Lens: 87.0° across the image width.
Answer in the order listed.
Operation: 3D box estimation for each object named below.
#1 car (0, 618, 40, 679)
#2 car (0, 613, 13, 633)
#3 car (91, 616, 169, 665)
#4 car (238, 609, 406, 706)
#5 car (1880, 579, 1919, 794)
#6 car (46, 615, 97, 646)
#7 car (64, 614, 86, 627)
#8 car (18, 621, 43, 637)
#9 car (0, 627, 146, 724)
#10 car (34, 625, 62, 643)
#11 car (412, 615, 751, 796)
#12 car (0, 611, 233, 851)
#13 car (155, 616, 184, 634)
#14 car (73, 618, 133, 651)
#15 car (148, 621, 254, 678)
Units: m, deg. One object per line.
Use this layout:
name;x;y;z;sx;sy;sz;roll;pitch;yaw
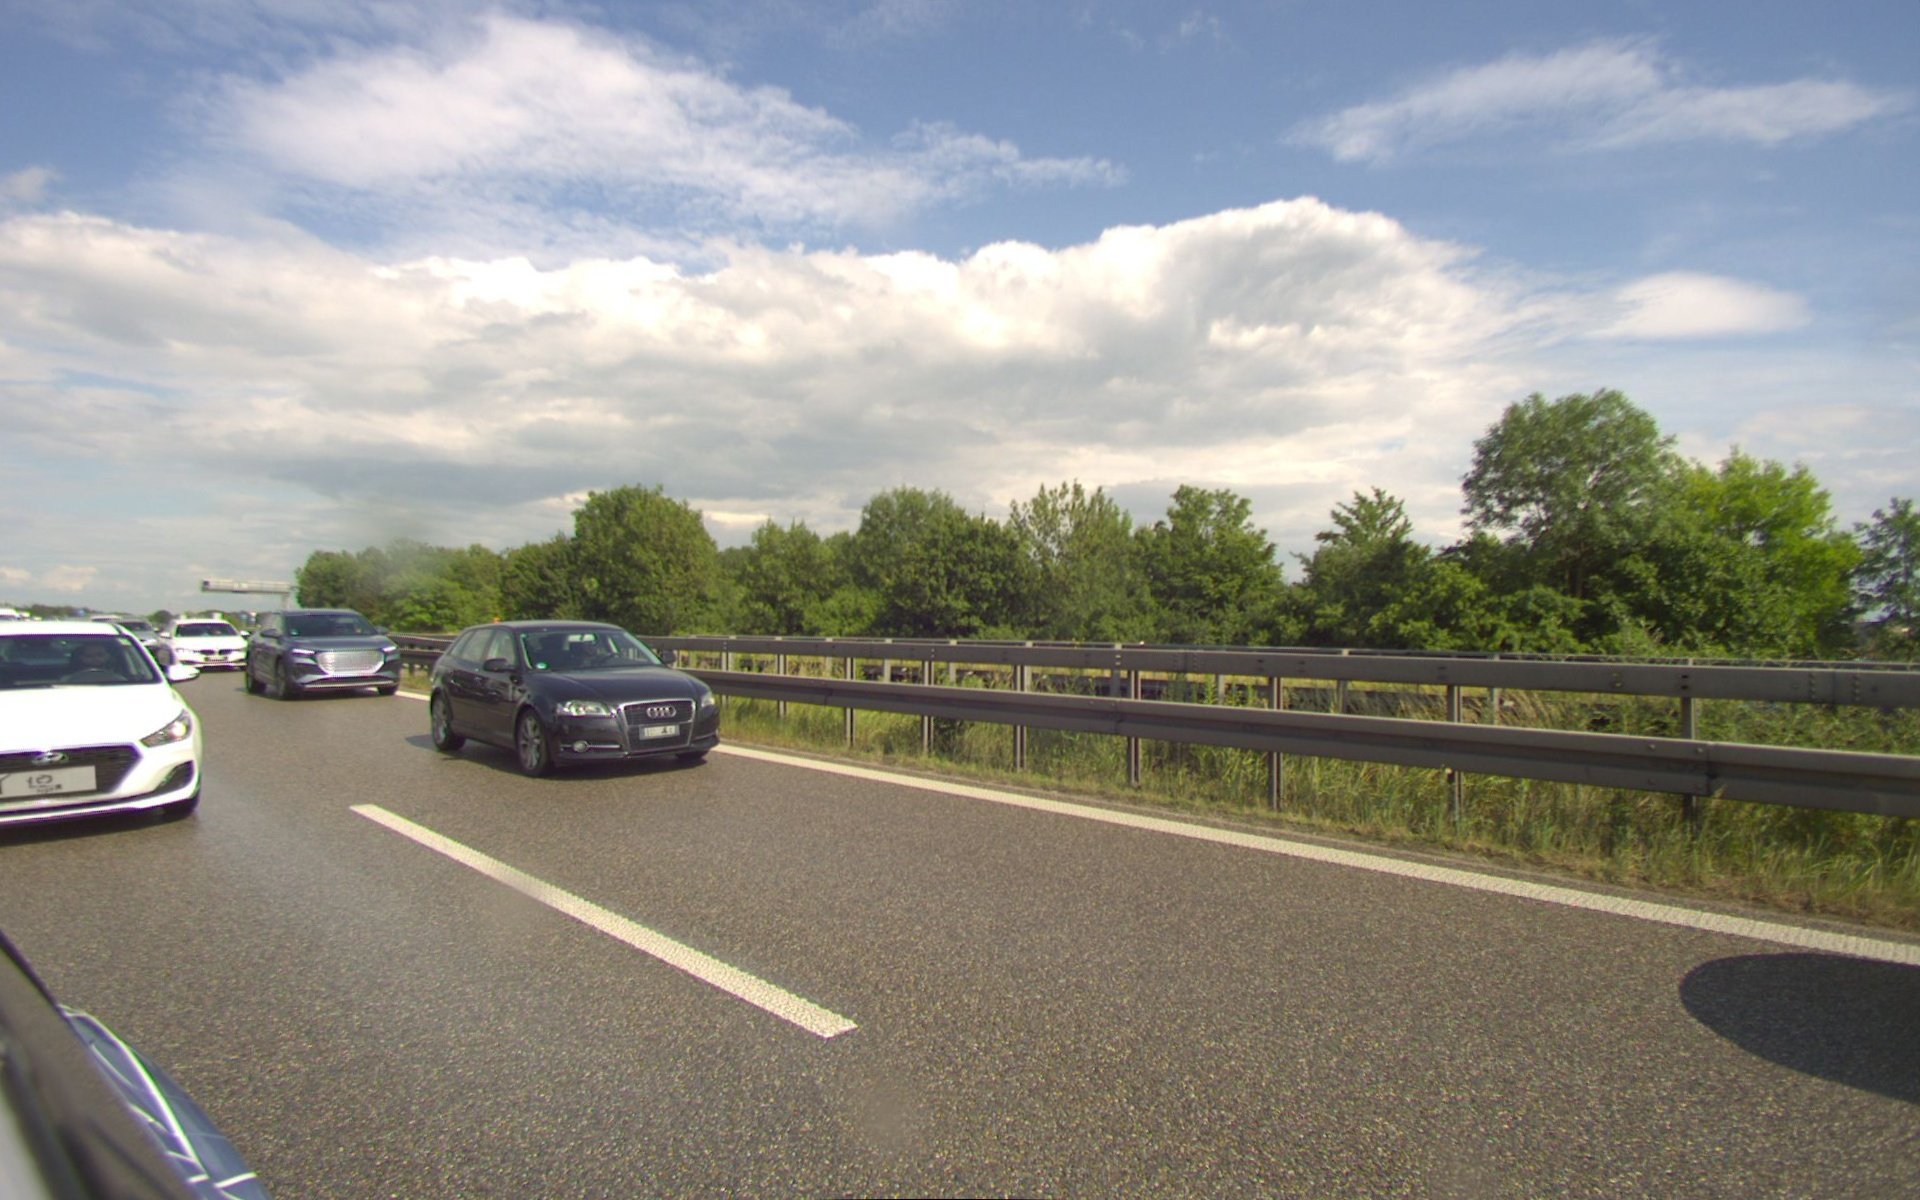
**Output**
car;-26.150;1.276;27.128;4.002;1.497;1.971;0;1;44
car;-88.596;2.099;93.145;4.002;1.710;1.971;0;1;44
car;-32.991;1.555;40.199;4.002;1.762;1.971;0;1;44
car;-12.077;0.994;19.048;1.848;1.618;4.232;0;-1;-44
car;9.751;0.681;7.648;1.970;1.748;4.003;1;-1;-44
car;-53.029;1.795;60.390;4.002;1.710;1.971;0;1;44
car;-123.927;2.823;141.716;1.971;1.792;4.463;0;-1;-45
car;-109.674;3.440;119.410;4.002;1.710;1.971;0;1;44
car;-14.509;1.115;16.316;4.289;1.348;1.705;-1;-1;45
car;-96.600;3.612;107.162;4.002;1.710;1.971;0;1;44
car;-4.019;0.891;10.347;1.746;1.436;4.142;-1;0;-44
car;-7.314;0.840;7.970;4.550;1.466;1.860;-1;-1;45
car;-90.305;2.810;115.613;4.655;2.029;1.971;-1;-1;44
car;-43.904;1.730;51.807;4.002;1.490;1.971;0;1;44
car;-20.921;1.309;27.855;4.002;1.389;1.747;0;-1;45
